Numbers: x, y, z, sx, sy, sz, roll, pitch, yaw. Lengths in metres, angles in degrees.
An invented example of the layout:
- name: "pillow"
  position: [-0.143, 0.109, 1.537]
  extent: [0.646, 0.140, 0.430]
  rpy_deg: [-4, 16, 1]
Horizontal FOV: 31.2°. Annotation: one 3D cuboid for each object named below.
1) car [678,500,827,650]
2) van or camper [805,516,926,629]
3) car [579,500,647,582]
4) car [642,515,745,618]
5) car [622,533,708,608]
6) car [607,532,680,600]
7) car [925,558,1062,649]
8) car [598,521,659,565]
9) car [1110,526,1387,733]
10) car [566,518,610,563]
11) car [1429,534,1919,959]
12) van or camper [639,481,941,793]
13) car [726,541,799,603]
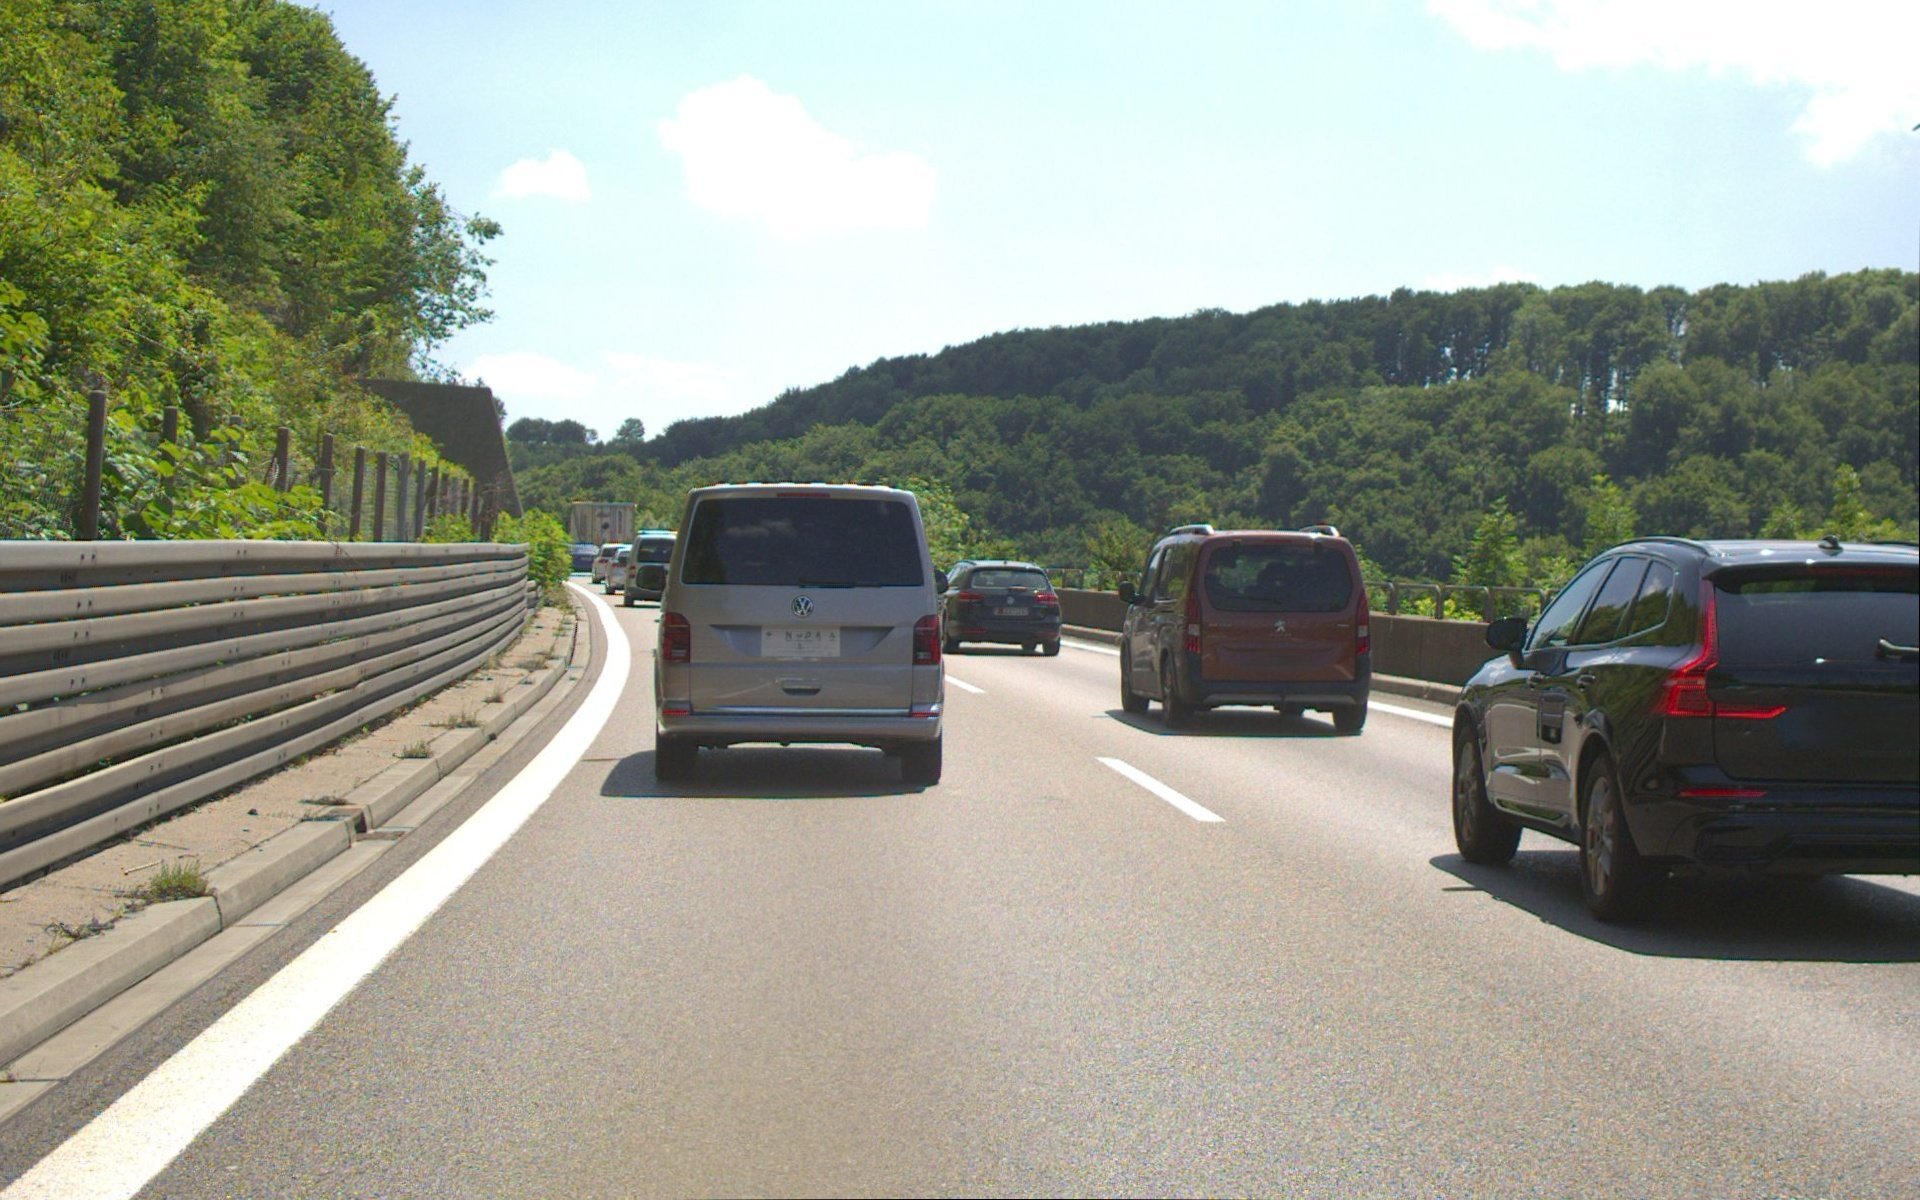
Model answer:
- name: "car"
  position: [-2.911, -0.357, 48.436]
  extent: [1.993, 2.007, 4.001]
  rpy_deg: [1, 1, -3]
- name: "van or camper"
  position: [-2.243, -0.653, 79.961]
  extent: [2.263, 2.542, 4.738]
  rpy_deg: [0, 1, -8]
- name: "car"
  position: [-21.337, -3.582, 211.164]
  extent: [4.042, 4.855, 10.111]
  rpy_deg: [0, 1, -6]
- name: "car"
  position: [-5.378, -0.669, 69.701]
  extent: [1.993, 2.007, 4.001]
  rpy_deg: [1, 0, -4]
- name: "car"
  position: [-7.410, -0.741, 86.088]
  extent: [1.993, 1.811, 4.001]
  rpy_deg: [0, 1, -7]
- name: "car"
  position: [-9.380, -1.021, 101.640]
  extent: [1.993, 1.908, 4.001]
  rpy_deg: [2, 1, -6]
- name: "car"
  position: [0.495, 0.039, 54.253]
  extent: [1.768, 1.371, 3.593]
  rpy_deg: [0, 1, -6]
- name: "car"
  position: [-12.840, -2.209, 132.945]
  extent: [2.142, 1.601, 5.079]
  rpy_deg: [2, 1, -7]
- name: "car"
  position: [2.608, 0.245, 32.181]
  extent: [1.833, 1.778, 4.676]
  rpy_deg: [1, 0, -4]
- name: "car"
  position: [-17.275, -2.757, 159.775]
  extent: [1.993, 2.007, 4.001]
  rpy_deg: [1, 0, -6]
- name: "car"
  position: [3.446, 0.557, 15.595]
  extent: [1.834, 1.628, 4.662]
  rpy_deg: [1, 0, -2]
- name: "van or camper"
  position: [-1.180, 0.210, 23.679]
  extent: [1.875, 1.943, 4.294]
  rpy_deg: [0, 1, -3]
- name: "car"
  position: [-6.536, -0.938, 113.310]
  extent: [1.993, 2.007, 4.001]
  rpy_deg: [0, 1, -9]
